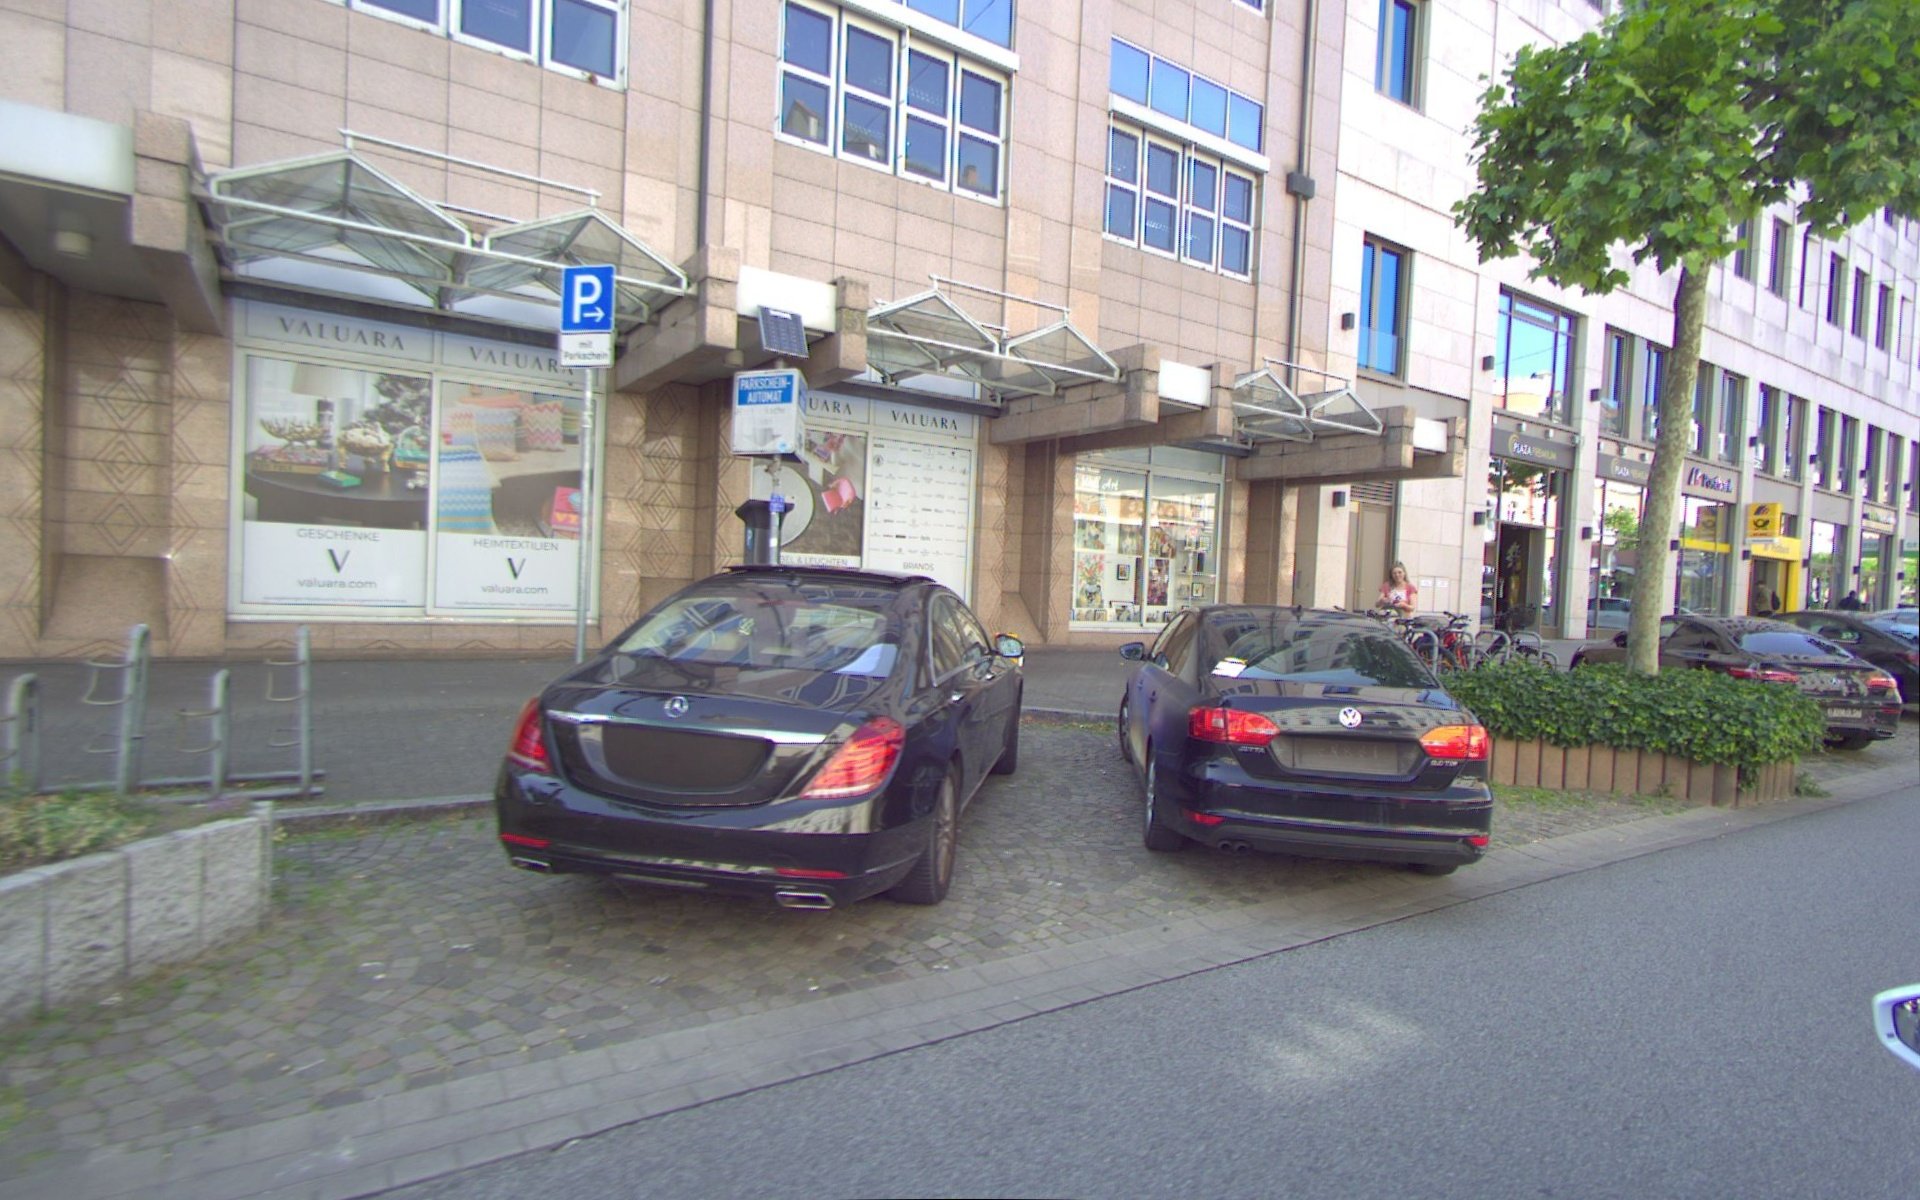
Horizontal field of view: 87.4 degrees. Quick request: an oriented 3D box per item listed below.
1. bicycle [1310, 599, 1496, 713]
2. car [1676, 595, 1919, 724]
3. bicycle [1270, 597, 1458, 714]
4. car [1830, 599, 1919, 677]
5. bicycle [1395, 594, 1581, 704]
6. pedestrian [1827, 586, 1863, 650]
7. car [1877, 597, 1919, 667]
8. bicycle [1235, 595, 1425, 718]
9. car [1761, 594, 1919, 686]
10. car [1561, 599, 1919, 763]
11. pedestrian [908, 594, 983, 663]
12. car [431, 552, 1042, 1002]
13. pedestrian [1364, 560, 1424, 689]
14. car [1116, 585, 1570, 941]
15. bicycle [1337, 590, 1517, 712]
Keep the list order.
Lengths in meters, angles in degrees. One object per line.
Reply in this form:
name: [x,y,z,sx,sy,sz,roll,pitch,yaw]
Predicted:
bicycle: [5.451,0.646,12.498,0.460,1.145,2.047,1,4,-40]
car: [13.950,0.849,15.965,1.798,1.534,4.352,3,3,-3]
bicycle: [4.811,0.620,12.117,0.460,1.145,2.047,1,4,-40]
car: [21.449,0.965,21.400,1.754,1.510,3.986,3,5,-15]
bicycle: [7.179,0.623,13.726,2.041,1.236,0.756,7,4,41]
pedestrian: [28.320,0.571,32.136,0.693,2.041,0.620,1,1,-32]
car: [24.287,0.984,23.444,1.669,1.589,3.993,4,5,-8]
bicycle: [4.217,0.602,11.639,0.611,1.145,2.053,2,4,-32]
car: [18.878,0.861,20.168,1.701,1.520,3.958,1,6,-36]
car: [9.737,0.852,12.907,1.868,1.427,4.652,3,3,10]
pedestrian: [-0.191,0.375,13.354,0.766,0.820,0.562,1,6,-33]
car: [-0.707,0.571,6.125,1.950,1.554,4.759,3,2,9]
pedestrian: [5.838,0.315,13.505,0.558,1.679,0.634,3,2,36]
car: [2.138,0.717,7.105,1.845,1.442,4.798,3,3,7]
bicycle: [5.966,0.610,12.959,0.364,1.306,2.047,1,4,-40]
